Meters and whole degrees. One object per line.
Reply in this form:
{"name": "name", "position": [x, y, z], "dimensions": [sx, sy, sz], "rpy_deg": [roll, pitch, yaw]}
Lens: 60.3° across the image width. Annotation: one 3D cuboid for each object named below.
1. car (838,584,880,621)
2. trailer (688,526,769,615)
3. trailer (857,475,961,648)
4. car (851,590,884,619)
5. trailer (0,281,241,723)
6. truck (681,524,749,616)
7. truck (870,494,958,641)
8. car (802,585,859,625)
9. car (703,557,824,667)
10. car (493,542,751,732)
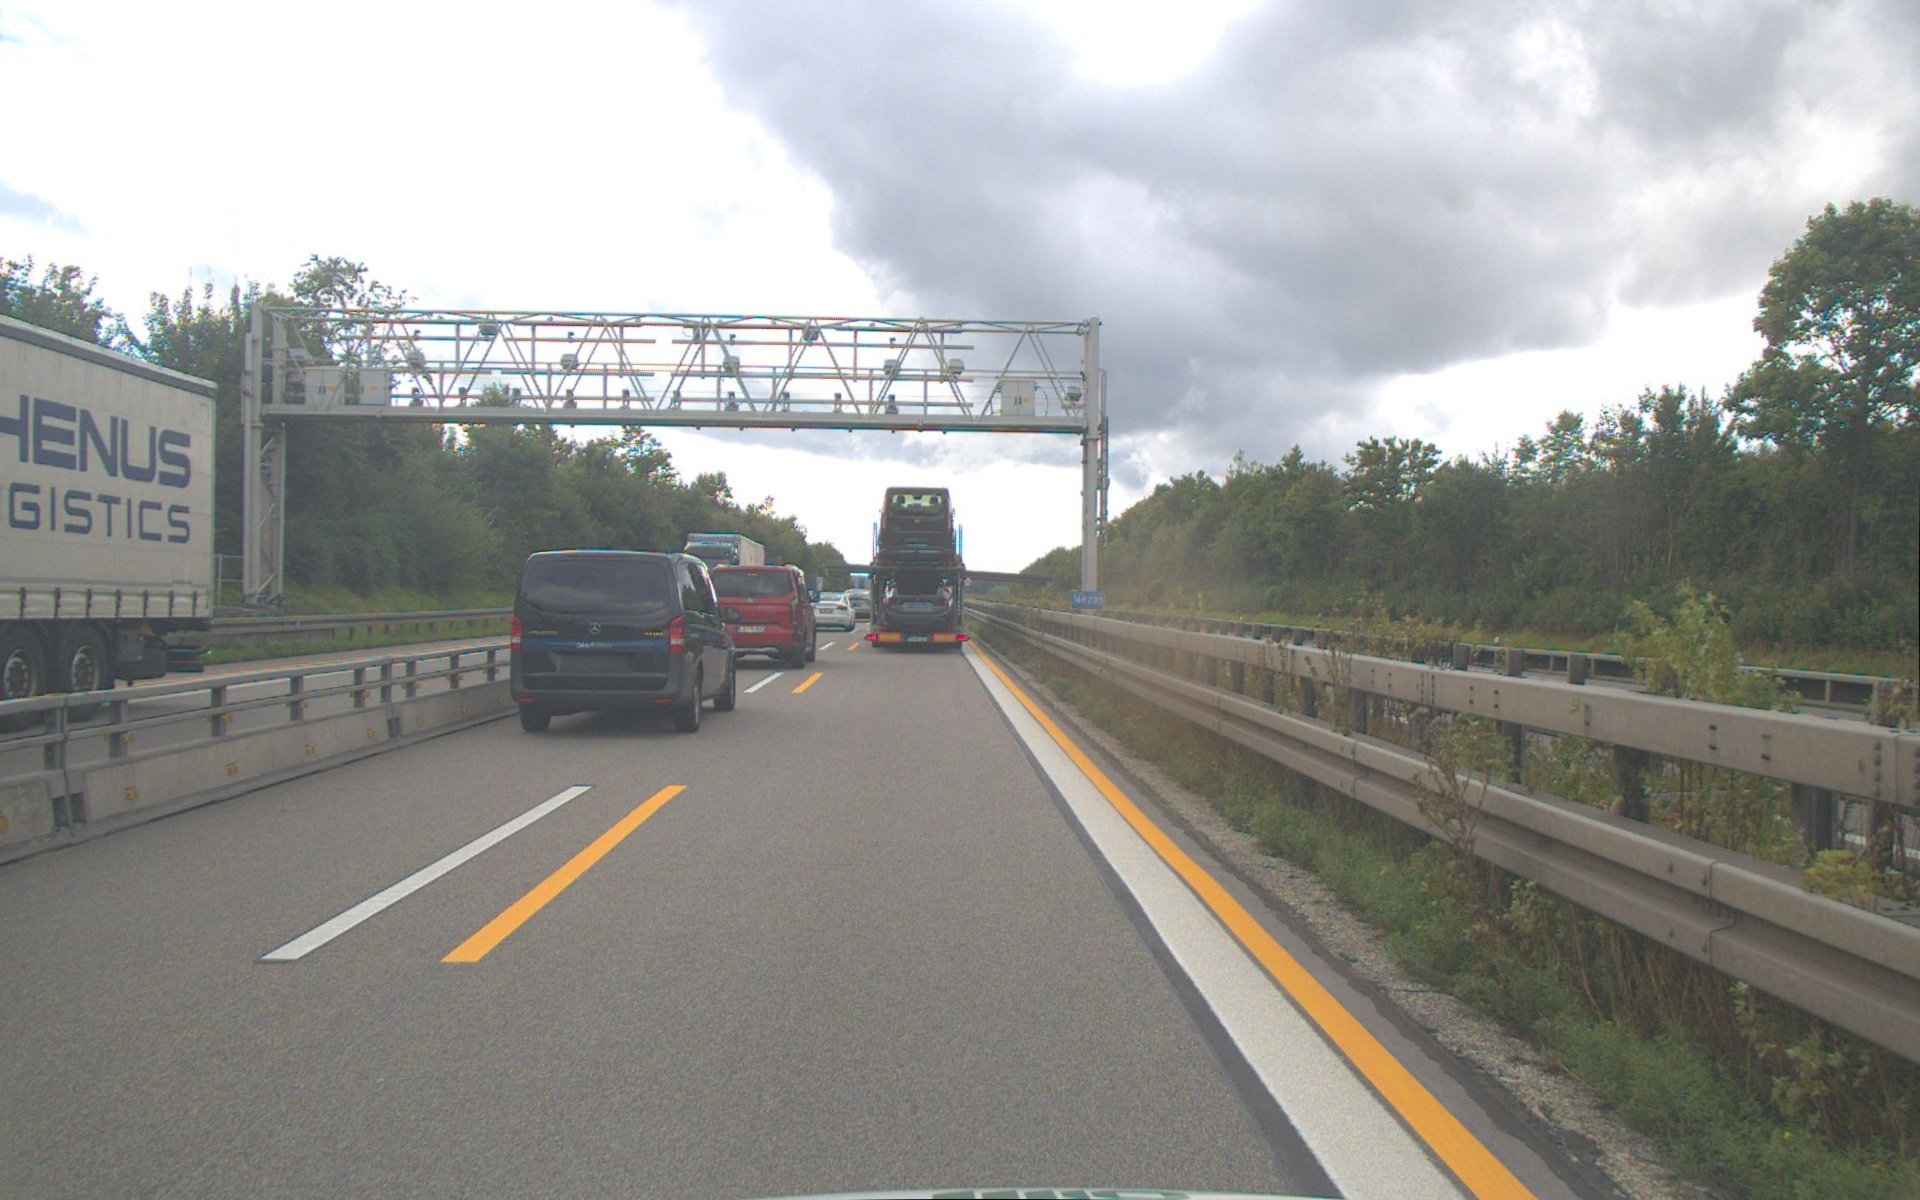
{"name": "car", "position": [-5.067, 0.106, 83.662], "dimensions": [1.990, 1.788, 4.576], "rpy_deg": [0, 0, -2]}
{"name": "trailer", "position": [-11.919, -1.508, 86.436], "dimensions": [2.546, 4.227, 13.987], "rpy_deg": [1, 1, -2]}
{"name": "trailer", "position": [-1.304, -0.939, 45.744], "dimensions": [2.464, 4.177, 11.111], "rpy_deg": [1, 0, -1]}
{"name": "car", "position": [-5.696, 0.271, 102.304], "dimensions": [1.990, 1.788, 4.576], "rpy_deg": [0, 0, -2]}
{"name": "trailer", "position": [-10.430, -0.941, 14.379], "dimensions": [2.546, 4.227, 13.987], "rpy_deg": [1, 1, -2]}
{"name": "truck", "position": [-11.751, -1.425, 79.717], "dimensions": [2.546, 4.227, 5.618], "rpy_deg": [1, 0, -2]}
{"name": "truck", "position": [-1.372, -0.941, 50.482], "dimensions": [2.464, 4.177, 5.684], "rpy_deg": [1, 0, -1]}
{"name": "car", "position": [-4.933, 0.171, 63.499], "dimensions": [1.990, 1.456, 4.576], "rpy_deg": [0, 0, -2]}
{"name": "car", "position": [-3.870, 0.219, 33.307], "dimensions": [1.990, 2.049, 4.576], "rpy_deg": [0, 0, -1]}
{"name": "car", "position": [-3.701, 0.367, 19.197], "dimensions": [1.953, 1.875, 5.608], "rpy_deg": [0, 0, -1]}
